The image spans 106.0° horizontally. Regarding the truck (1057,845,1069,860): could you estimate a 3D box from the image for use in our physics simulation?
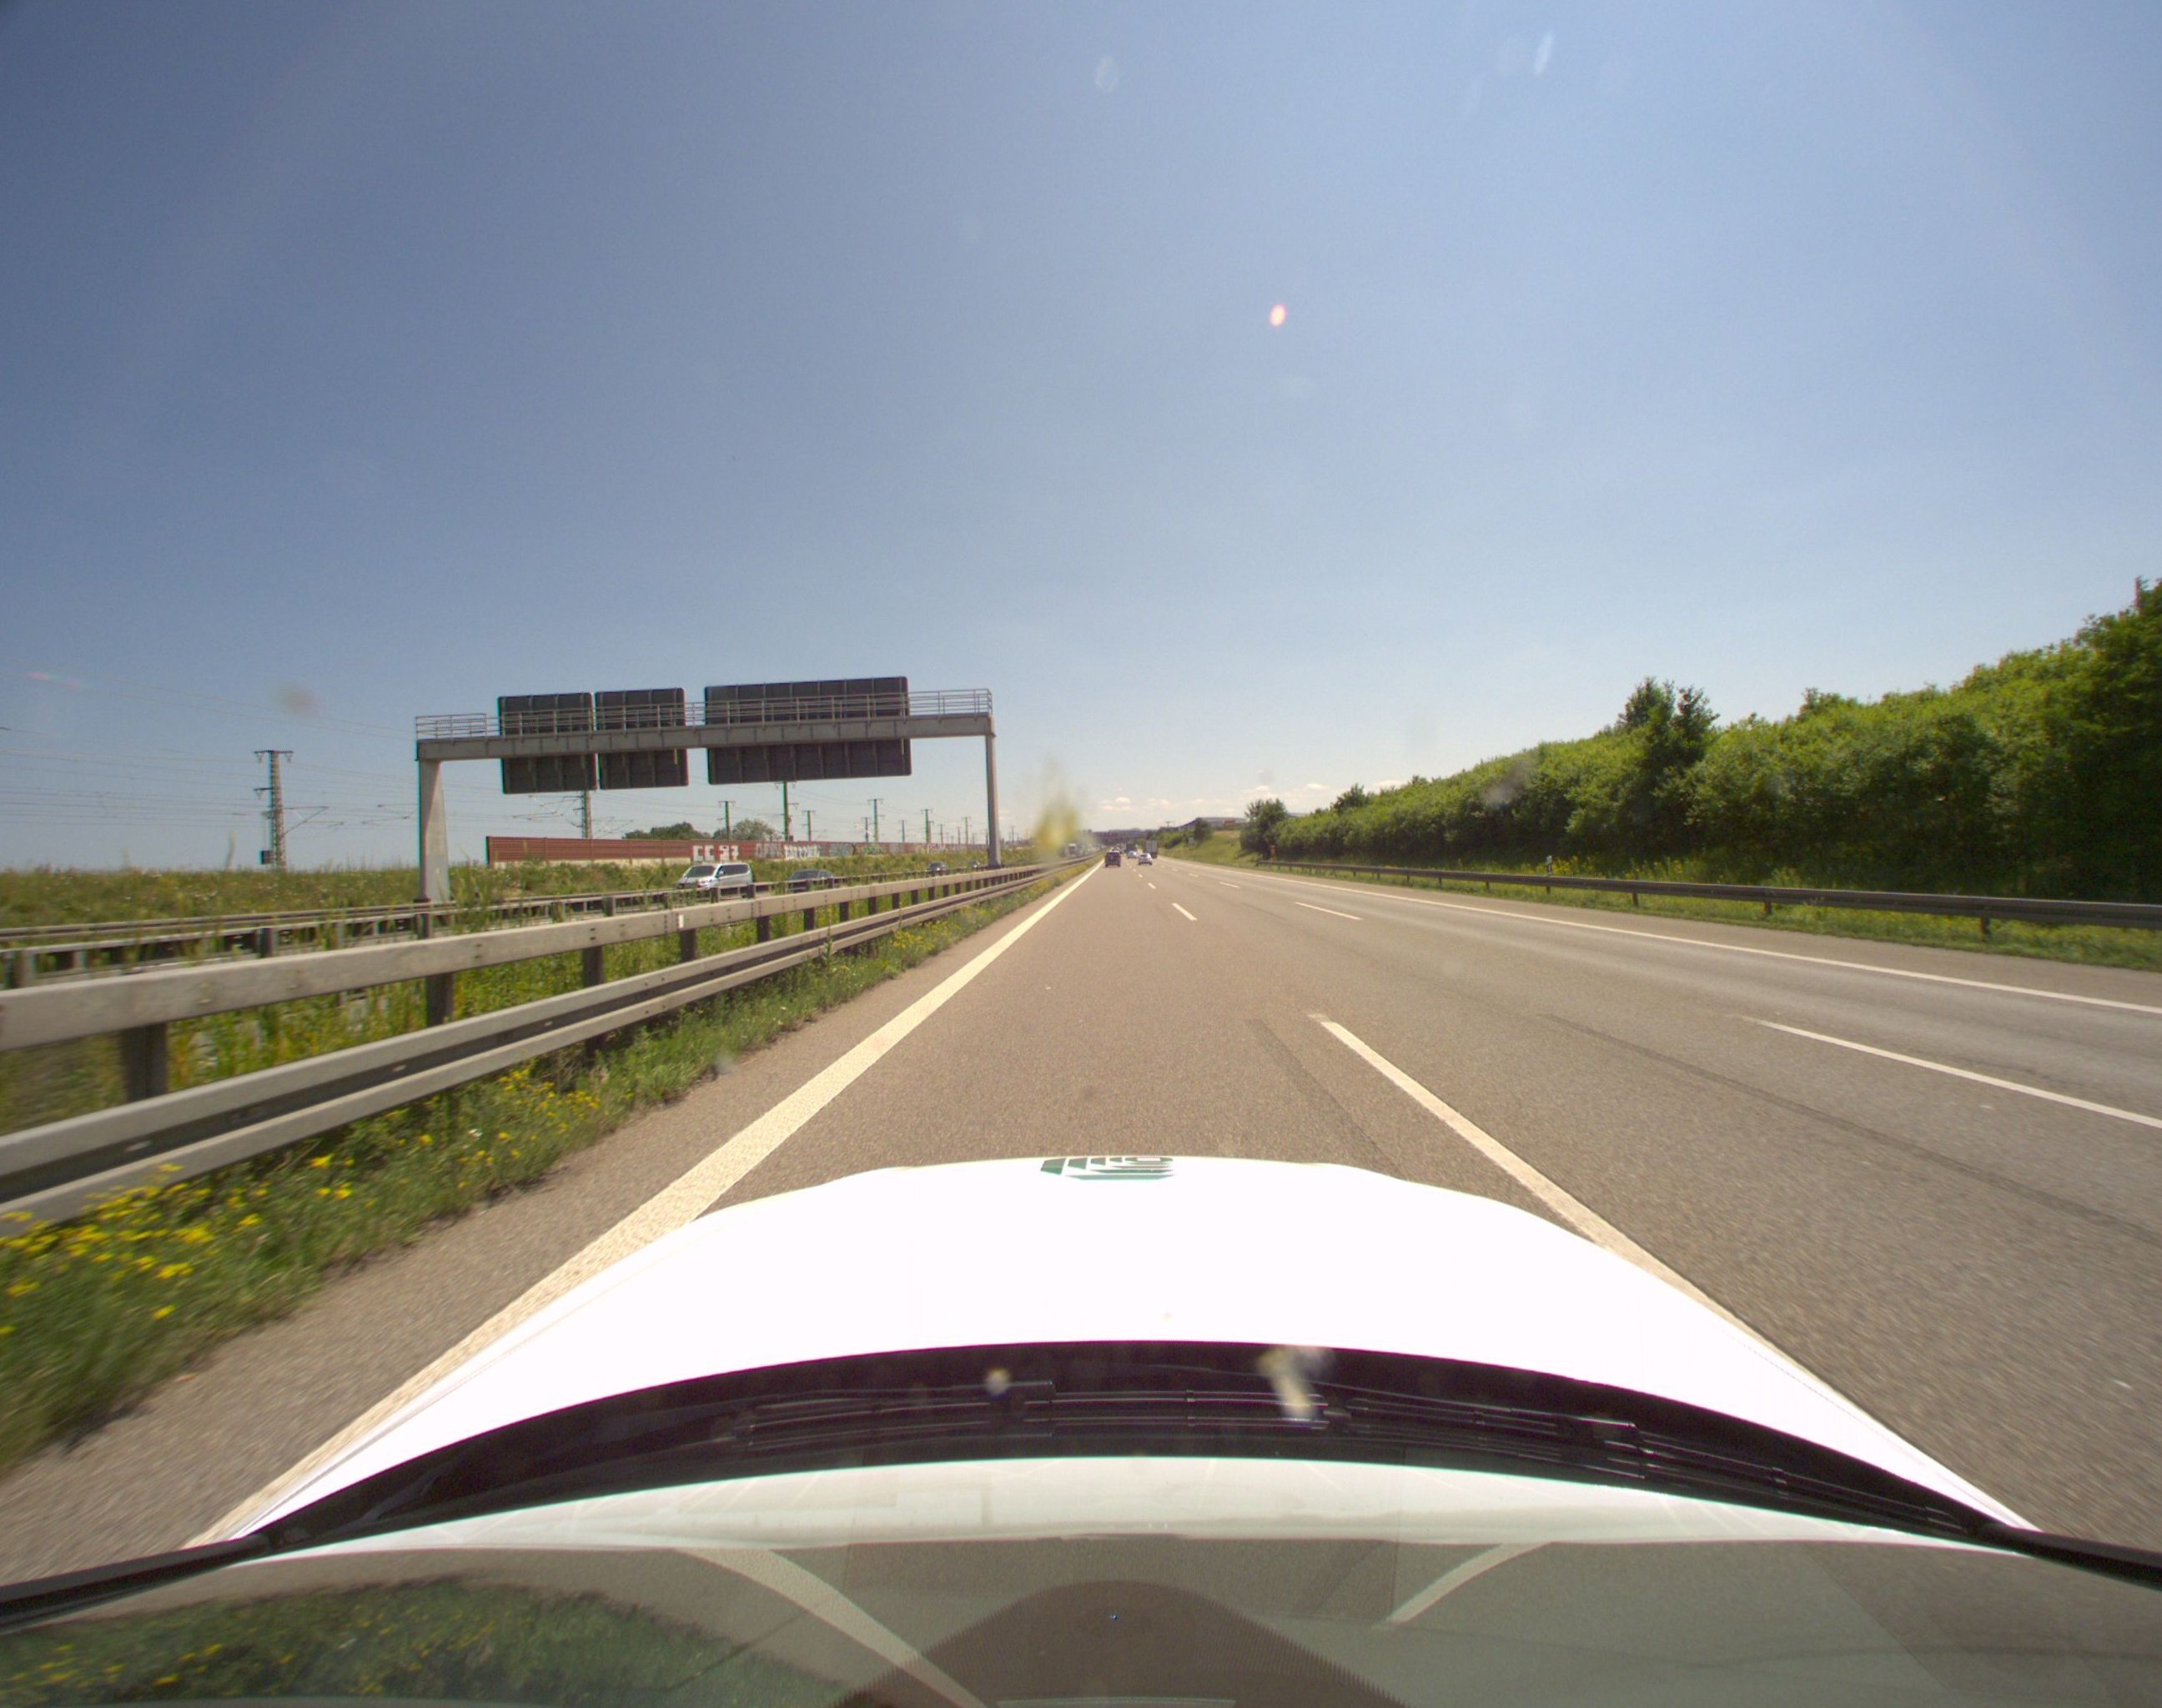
[{"bbox_3d":[-5.482,-0.394,245.151,2.877,4.407,7.508,-3,0,3],"label":"truck"}]

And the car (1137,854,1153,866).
[{"bbox_3d":[8.244,0.768,104.438,1.872,1.526,4.006,-1,0,5],"label":"car"}]

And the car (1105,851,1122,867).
[{"bbox_3d":[3.723,0.595,93.925,1.873,1.775,4.002,-2,0,2],"label":"car"}]

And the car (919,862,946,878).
[{"bbox_3d":[-16.631,1.791,91.303,1.985,1.726,4.516,-1,0,3],"label":"car"}]

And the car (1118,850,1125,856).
[{"bbox_3d":[12.220,-0.310,247.543,1.986,2.014,4.002,-1,0,2],"label":"car"}]

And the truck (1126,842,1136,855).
[{"bbox_3d":[13.078,-1.436,214.483,2.346,3.416,6.061,-2,0,3],"label":"truck"}]

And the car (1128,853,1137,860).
[{"bbox_3d":[10.808,0.550,170.591,1.873,1.526,4.004,-1,0,3],"label":"car"}]

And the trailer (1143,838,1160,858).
[{"bbox_3d":[15.172,-1.256,176.157,3.165,4.059,9.446,-2,0,3],"label":"trailer"}]

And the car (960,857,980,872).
[{"bbox_3d":[-15.213,1.396,111.721,1.985,2.014,4.312,0,-1,3],"label":"car"}]

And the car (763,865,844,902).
[{"bbox_3d":[-13.147,1.355,38.881,1.984,1.576,4.482,-1,-1,4],"label":"car"}]

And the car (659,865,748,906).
[{"bbox_3d":[-19.384,1.575,42.133,1.985,1.886,4.983,-1,0,4],"label":"car"}]

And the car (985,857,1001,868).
[{"bbox_3d":[-14.307,1.429,132.478,1.986,1.726,4.516,-1,0,2],"label":"car"}]
